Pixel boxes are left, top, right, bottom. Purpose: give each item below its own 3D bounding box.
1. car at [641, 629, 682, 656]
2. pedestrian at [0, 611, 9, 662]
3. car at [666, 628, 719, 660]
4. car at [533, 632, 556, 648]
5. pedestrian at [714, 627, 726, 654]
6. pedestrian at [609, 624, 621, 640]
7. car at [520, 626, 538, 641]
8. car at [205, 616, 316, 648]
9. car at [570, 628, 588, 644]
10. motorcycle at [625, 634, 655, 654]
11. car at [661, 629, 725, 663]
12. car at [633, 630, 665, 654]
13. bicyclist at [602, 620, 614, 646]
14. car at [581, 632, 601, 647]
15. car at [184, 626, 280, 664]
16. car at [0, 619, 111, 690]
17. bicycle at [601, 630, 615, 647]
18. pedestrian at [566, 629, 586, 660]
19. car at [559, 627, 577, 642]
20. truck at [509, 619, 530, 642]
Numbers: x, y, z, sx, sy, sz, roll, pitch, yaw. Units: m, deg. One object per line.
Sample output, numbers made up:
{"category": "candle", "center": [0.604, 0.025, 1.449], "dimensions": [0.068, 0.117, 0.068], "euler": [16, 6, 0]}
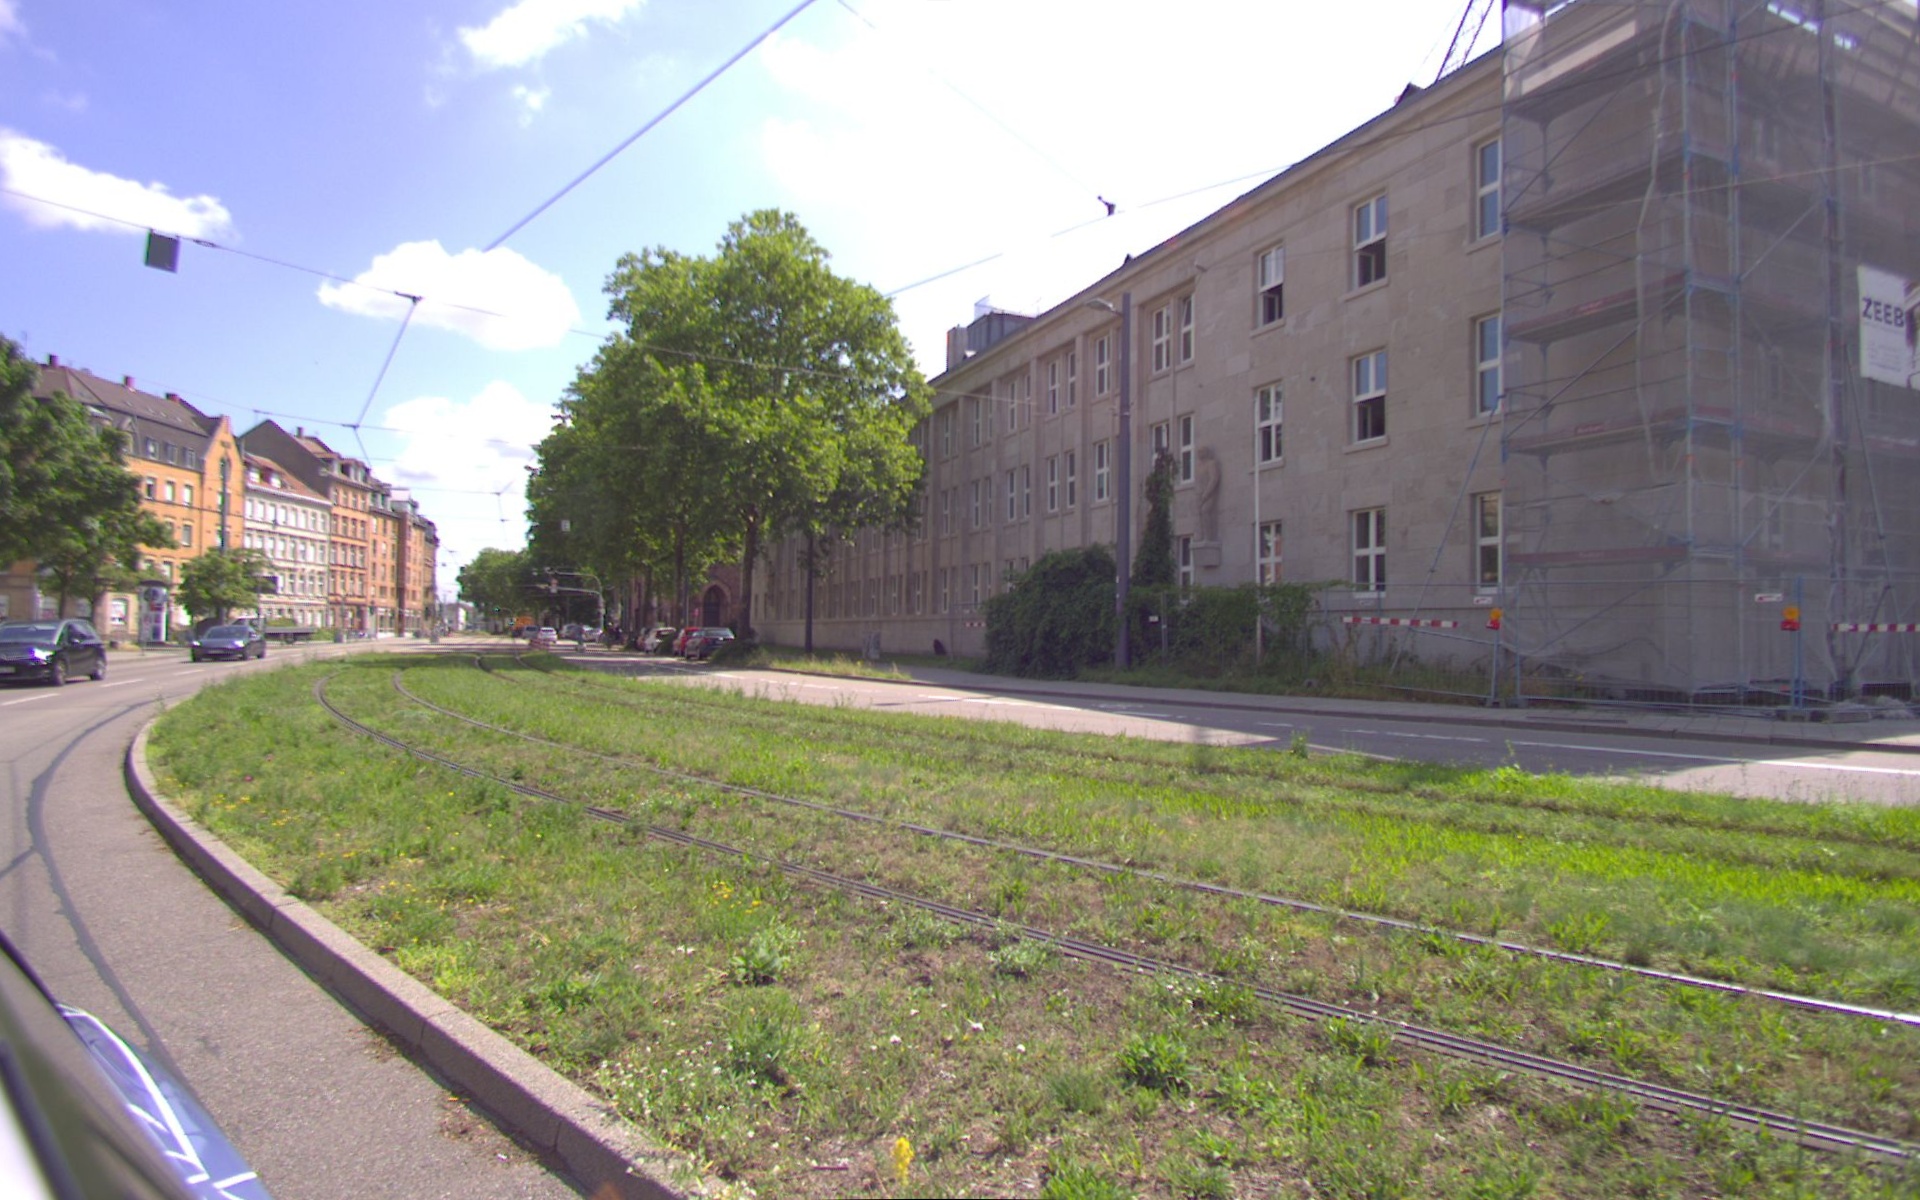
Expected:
{"category": "car", "center": [-17.506, 2.479, 59.197], "dimensions": [1.722, 1.465, 3.502], "euler": [0, -2, -26]}
{"category": "pedestrian", "center": [-32.954, 1.229, 34.296], "dimensions": [0.690, 1.717, 1.048], "euler": [3, -2, -25]}
{"category": "car", "center": [-13.300, 2.161, 50.097], "dimensions": [1.899, 1.431, 4.063], "euler": [-1, -2, -24]}
{"category": "car", "center": [-40.108, 3.892, 97.681], "dimensions": [1.735, 1.491, 3.800], "euler": [4, -4, -25]}
{"category": "pedestrian", "center": [-14.412, 2.397, 60.709], "dimensions": [0.546, 1.603, 0.798], "euler": [0, -1, -25]}
{"category": "pedestrian", "center": [-27.723, 2.579, 81.352], "dimensions": [0.745, 1.221, 0.916], "euler": [-4, 0, -22]}
{"category": "car", "center": [-55.023, 4.225, 129.155], "dimensions": [1.893, 1.759, 4.552], "euler": [4, -3, -25]}
{"category": "car", "center": [-54.846, 2.539, 79.568], "dimensions": [6.860, 2.392, 2.270], "euler": [1, -2, -28]}
{"category": "car", "center": [-45.712, 4.269, 121.375], "dimensions": [1.732, 1.850, 4.013], "euler": [0, -1, -24]}
{"category": "motorcycle", "center": [-21.499, 2.943, 68.130], "dimensions": [0.542, 1.185, 2.088], "euler": [-5, -2, 27]}
{"category": "car", "center": [-11.885, 2.015, 44.806], "dimensions": [1.899, 1.379, 4.331], "euler": [0, -2, -26]}
{"category": "car", "center": [-19.482, 2.620, 63.311], "dimensions": [1.465, 1.465, 2.892], "euler": [0, -2, -26]}
{"category": "bicyclist", "center": [-24.056, 2.256, 69.158], "dimensions": [0.750, 1.717, 0.786], "euler": [0, -1, -24]}
{"category": "car", "center": [-39.127, 4.158, 107.282], "dimensions": [1.732, 1.508, 4.013], "euler": [0, -1, -24]}
{"category": "car", "center": [-29.759, 1.806, 41.510], "dimensions": [1.883, 1.404, 4.326], "euler": [0, -1, -17]}
{"category": "car", "center": [-22.999, 1.294, 25.070], "dimensions": [1.844, 1.631, 4.203], "euler": [1, -1, -23]}
{"category": "bicycle", "center": [-24.080, 2.634, 69.207], "dimensions": [0.779, 1.118, 2.284], "euler": [0, -1, -24]}
{"category": "pedestrian", "center": [-21.422, 2.465, 56.402], "dimensions": [0.699, 1.717, 0.776], "euler": [-1, -2, 28]}
{"category": "car", "center": [-53.979, 4.703, 139.350], "dimensions": [1.960, 2.019, 4.098], "euler": [0, -1, -27]}
{"category": "truck", "center": [-64.420, 4.419, 148.059], "dimensions": [2.602, 3.130, 7.246], "euler": [3, -3, -24]}
